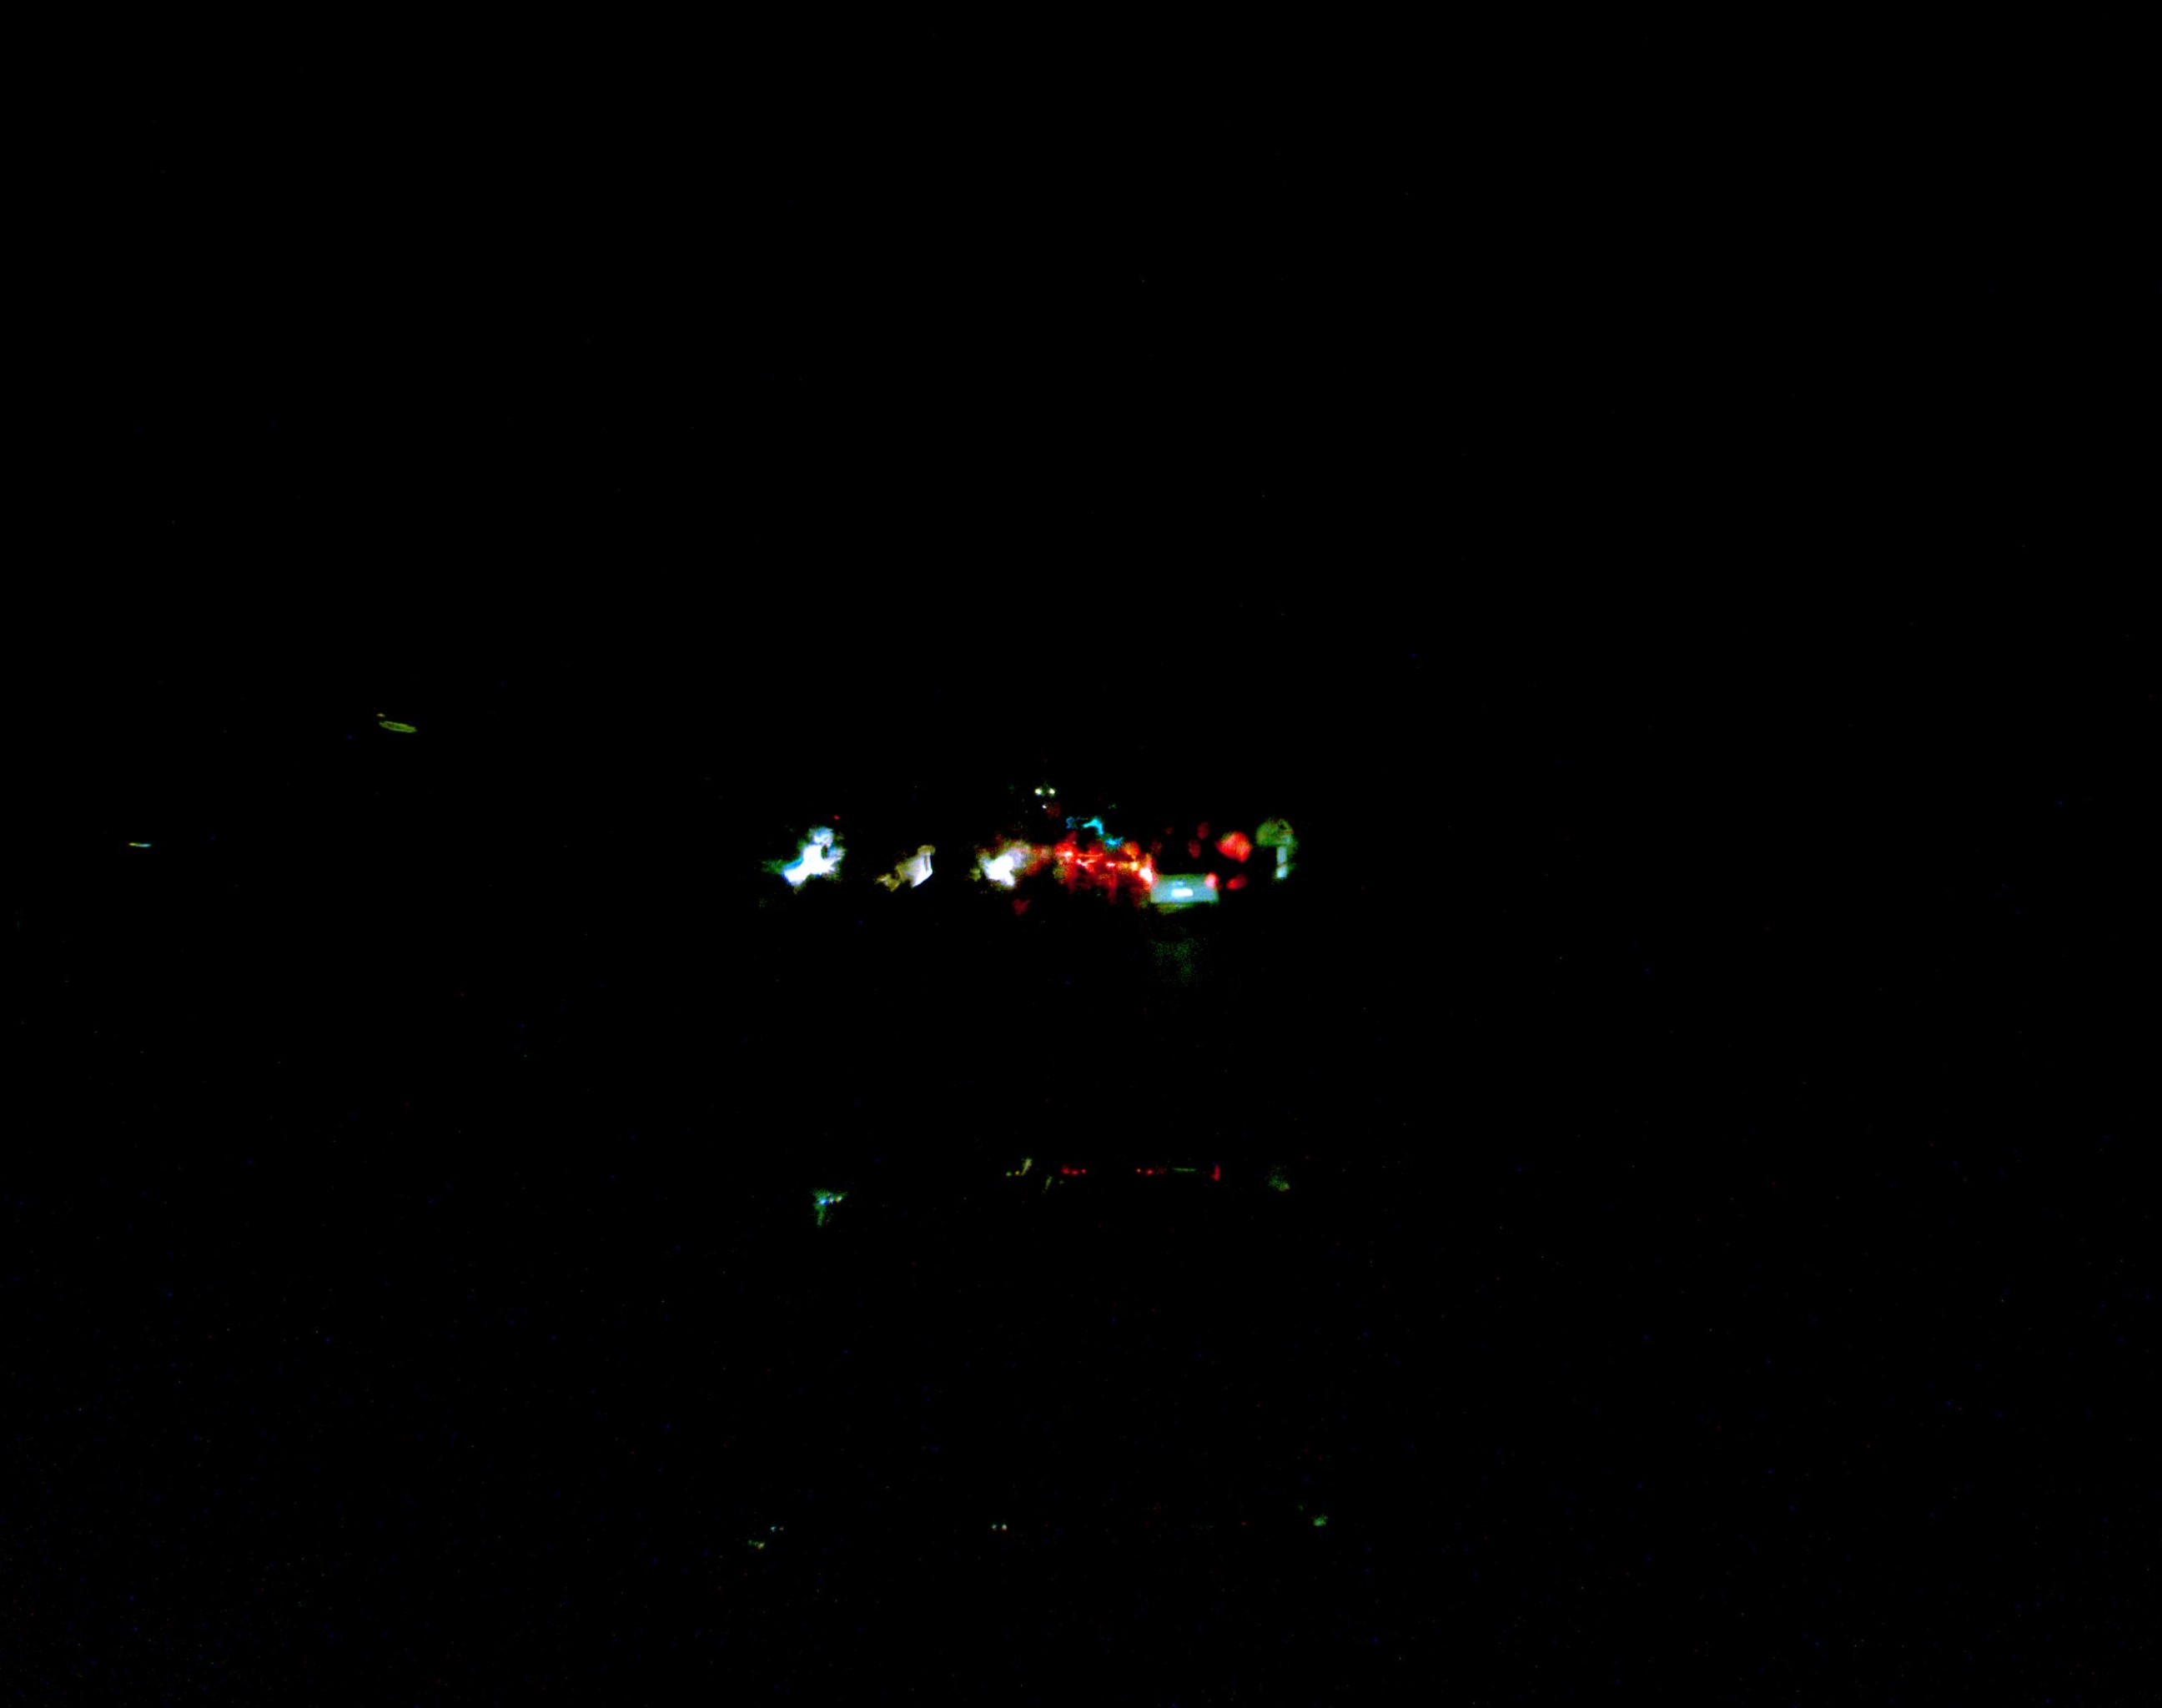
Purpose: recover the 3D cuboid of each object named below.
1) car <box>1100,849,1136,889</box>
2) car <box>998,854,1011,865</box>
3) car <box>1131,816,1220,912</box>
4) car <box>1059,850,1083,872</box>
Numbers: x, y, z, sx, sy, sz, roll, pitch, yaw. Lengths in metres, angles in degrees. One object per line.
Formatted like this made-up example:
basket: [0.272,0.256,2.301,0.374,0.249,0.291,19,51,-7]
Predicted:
car: [2.042,0.784,44.862,1.784,2.022,4.583,-2,0,3]
car: [-11.583,0.910,122.766,1.798,1.588,4.025,-1,-1,-4]
car: [2.199,0.199,19.970,1.784,2.022,4.583,-2,0,3]
car: [-0.887,0.576,71.414,1.780,1.782,4.430,-3,0,-3]
